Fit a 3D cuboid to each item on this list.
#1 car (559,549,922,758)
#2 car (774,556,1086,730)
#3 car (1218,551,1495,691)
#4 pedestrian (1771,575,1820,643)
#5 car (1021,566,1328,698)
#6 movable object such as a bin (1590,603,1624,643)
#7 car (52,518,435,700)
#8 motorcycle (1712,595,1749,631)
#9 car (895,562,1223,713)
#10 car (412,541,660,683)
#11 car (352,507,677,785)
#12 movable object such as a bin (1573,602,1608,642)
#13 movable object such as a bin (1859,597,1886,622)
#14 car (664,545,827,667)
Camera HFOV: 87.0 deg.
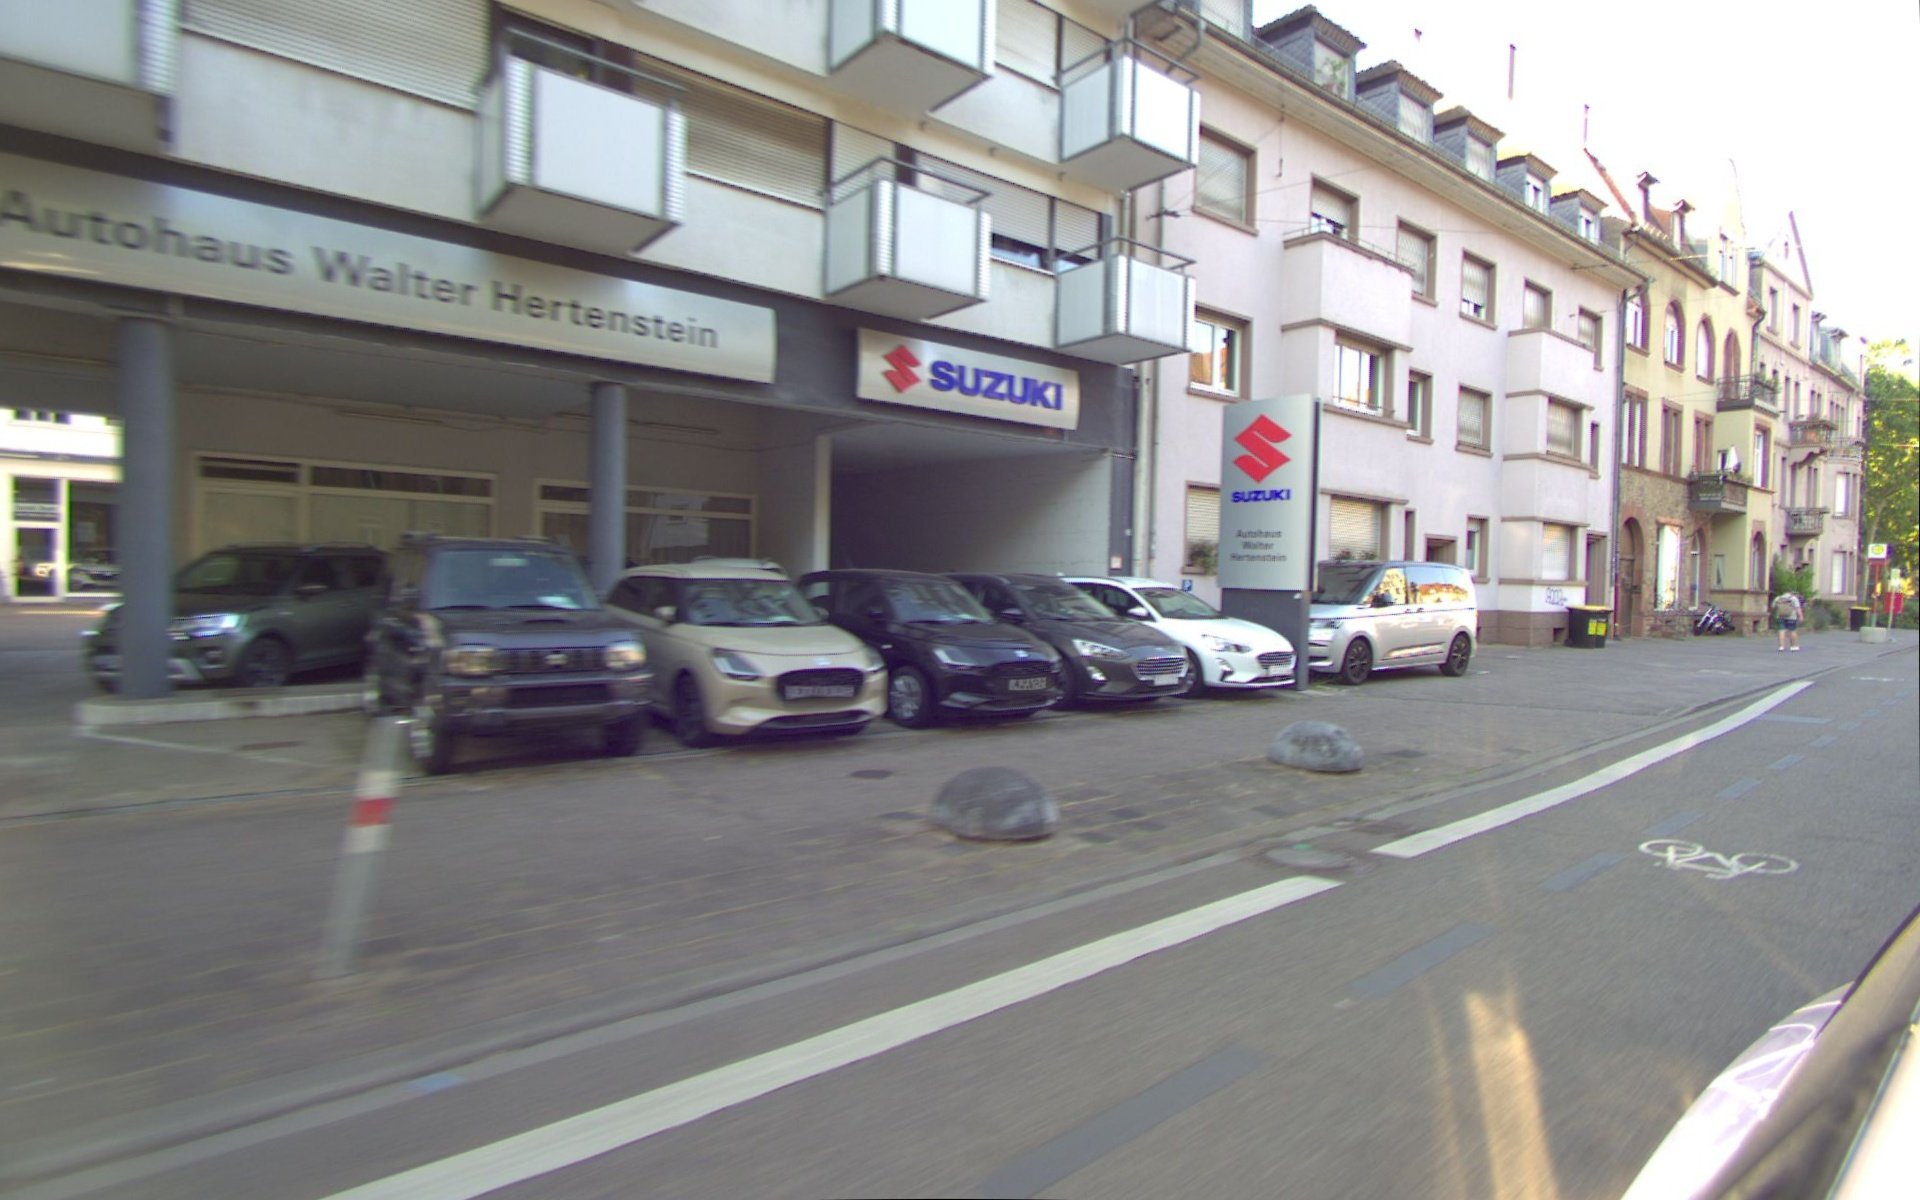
[{"bbox_3d":[-2.249,0.330,9.619,1.826,1.559,3.828,0,2,-39],"label":"car"},{"bbox_3d":[-0.460,0.325,10.900,1.708,1.544,3.429,0,2,-36],"label":"car"},{"bbox_3d":[6.525,0.215,16.449,4.809,1.972,1.899,-1,2,-36],"label":"car"},{"bbox_3d":[23.252,0.231,28.158,1.130,1.835,0.830,-1,2,-40],"label":"pedestrian"},{"bbox_3d":[2.814,0.342,13.964,1.878,1.520,3.822,1,1,-37],"label":"car"},{"bbox_3d":[16.659,0.578,26.052,0.574,0.981,0.555,-1,2,-37],"label":"movable object such as a bin"},{"bbox_3d":[-7.697,0.025,11.327,1.589,1.677,3.597,1,2,4],"label":"car"},{"bbox_3d":[26.691,0.438,35.061,2.463,1.151,0.590,-2,3,-43],"label":"motorcycle"},{"bbox_3d":[1.072,0.337,12.466,1.777,1.533,3.877,1,2,-40],"label":"car"},{"bbox_3d":[-5.384,0.080,13.340,1.581,1.582,3.523,1,2,4],"label":"car"},{"bbox_3d":[-3.796,0.242,8.278,1.650,1.741,3.592,2,1,-36],"label":"car"},{"bbox_3d":[15.972,0.551,25.634,0.574,0.981,0.555,-1,2,-37],"label":"movable object such as a bin"},{"bbox_3d":[40.304,0.430,44.711,0.645,1.059,0.659,0,2,-26],"label":"movable object such as a bin"},{"bbox_3d":[-3.058,0.024,15.029,1.478,1.582,3.346,1,2,4],"label":"car"}]
